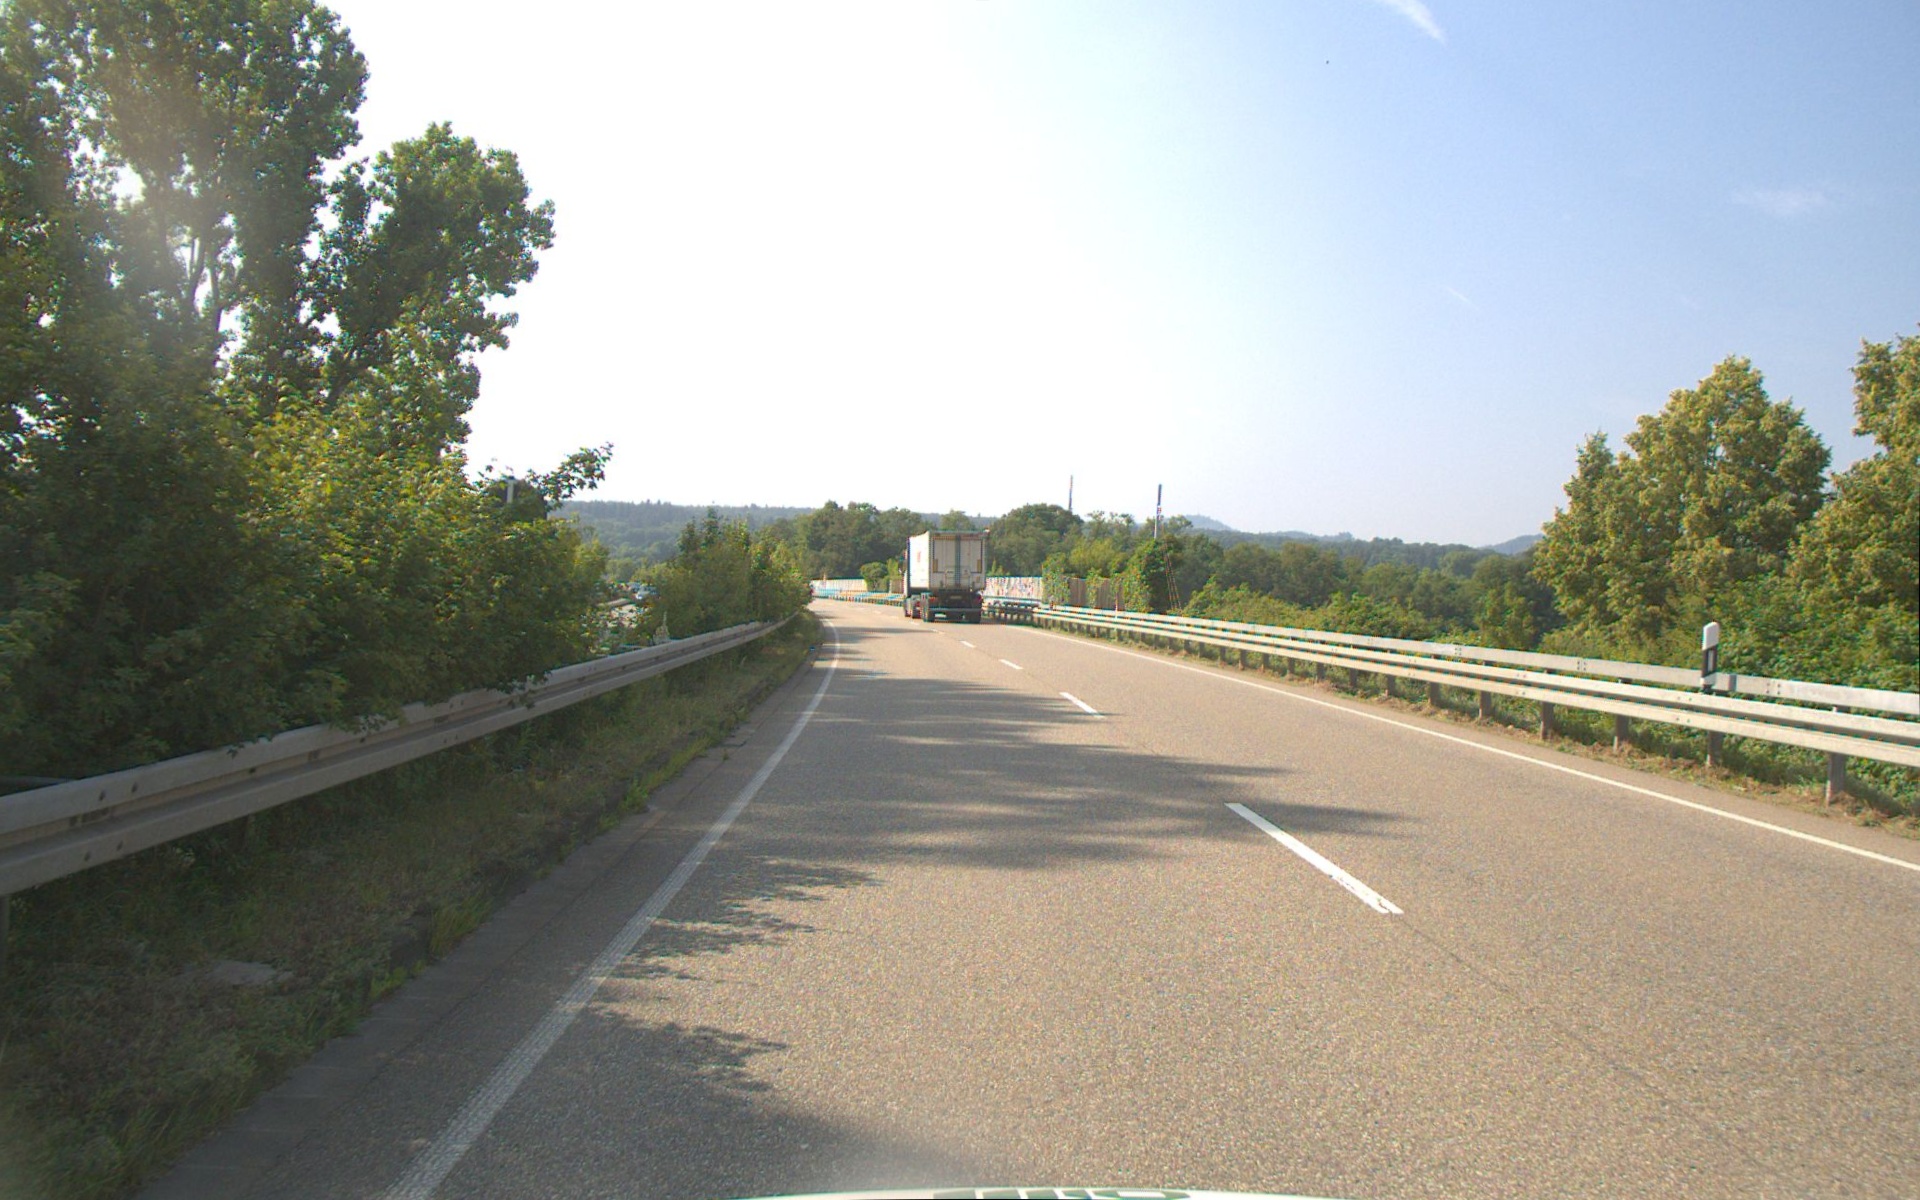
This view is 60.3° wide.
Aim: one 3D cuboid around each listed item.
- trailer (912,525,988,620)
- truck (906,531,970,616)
[{"bbox_3d":[-0.569,-1.215,74.900,2.627,3.975,9.663,1,0,-5],"label":"trailer"},{"bbox_3d":[-1.110,-1.280,80.734,2.607,3.964,5.642,1,0,-5],"label":"truck"}]
